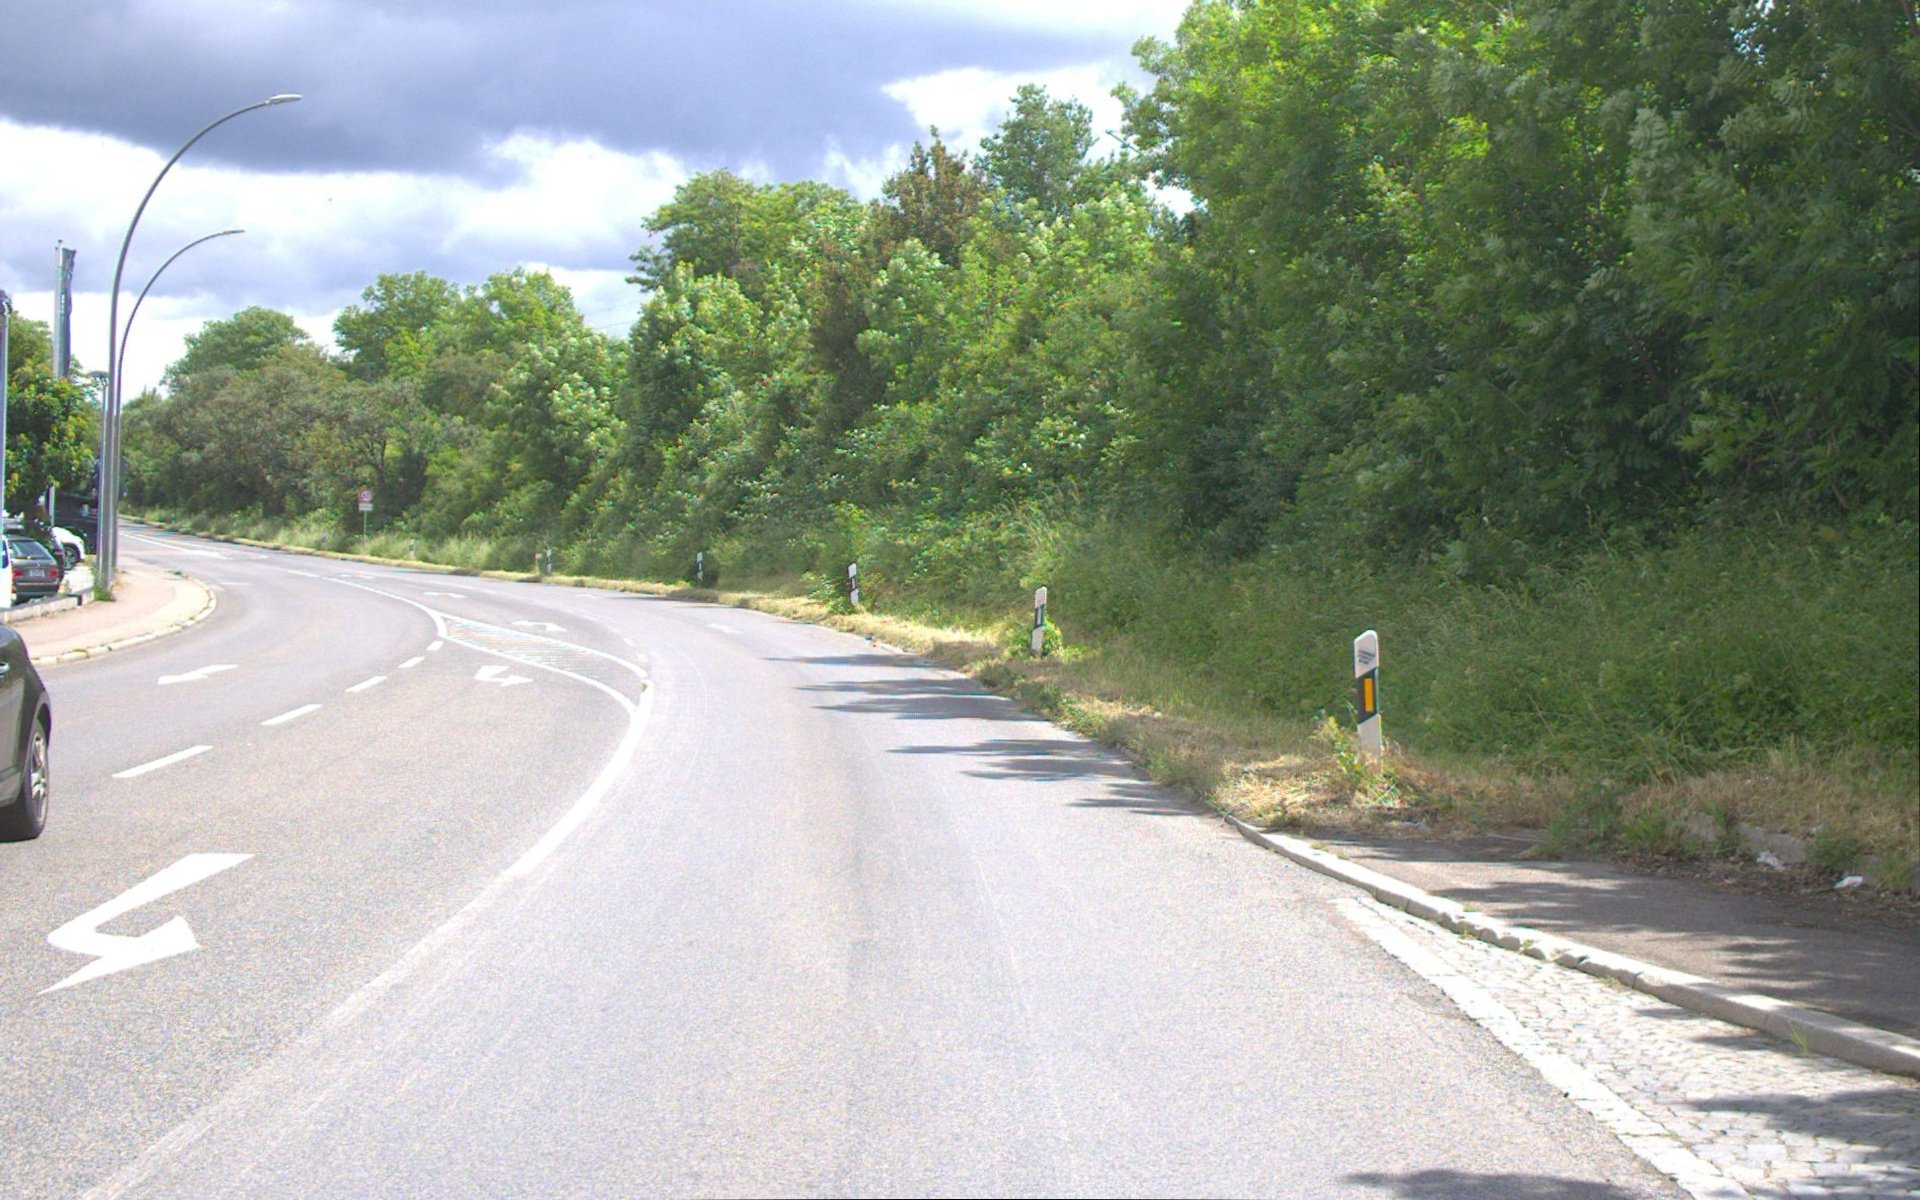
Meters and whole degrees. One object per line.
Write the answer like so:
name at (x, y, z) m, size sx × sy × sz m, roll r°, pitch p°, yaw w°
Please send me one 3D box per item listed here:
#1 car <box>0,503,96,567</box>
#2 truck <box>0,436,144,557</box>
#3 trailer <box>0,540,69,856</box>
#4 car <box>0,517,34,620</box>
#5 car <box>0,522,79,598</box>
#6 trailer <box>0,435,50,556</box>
car at (-27.747, -1.929, 100.558) m, size 4.303 × 1.757 × 1.999 m, roll 1°, pitch 1°, yaw -44°
truck at (-31.451, -3.550, 118.219) m, size 6.117 × 4.079 × 2.826 m, roll -1°, pitch 2°, yaw -27°
trailer at (-5.154, 0.453, 15.324) m, size 1.647 × 1.418 × 4.001 m, roll 0°, pitch 1°, yaw -5°
car at (-17.828, -0.602, 57.457) m, size 3.979 × 1.695 × 2.171 m, roll 2°, pitch 1°, yaw 22°
car at (-20.233, -0.866, 69.908) m, size 4.196 × 1.474 × 1.793 m, roll 2°, pitch 1°, yaw 22°
trailer at (-35.892, -3.539, 115.889) m, size 9.721 × 4.079 × 2.826 m, roll -1°, pitch 2°, yaw -28°
